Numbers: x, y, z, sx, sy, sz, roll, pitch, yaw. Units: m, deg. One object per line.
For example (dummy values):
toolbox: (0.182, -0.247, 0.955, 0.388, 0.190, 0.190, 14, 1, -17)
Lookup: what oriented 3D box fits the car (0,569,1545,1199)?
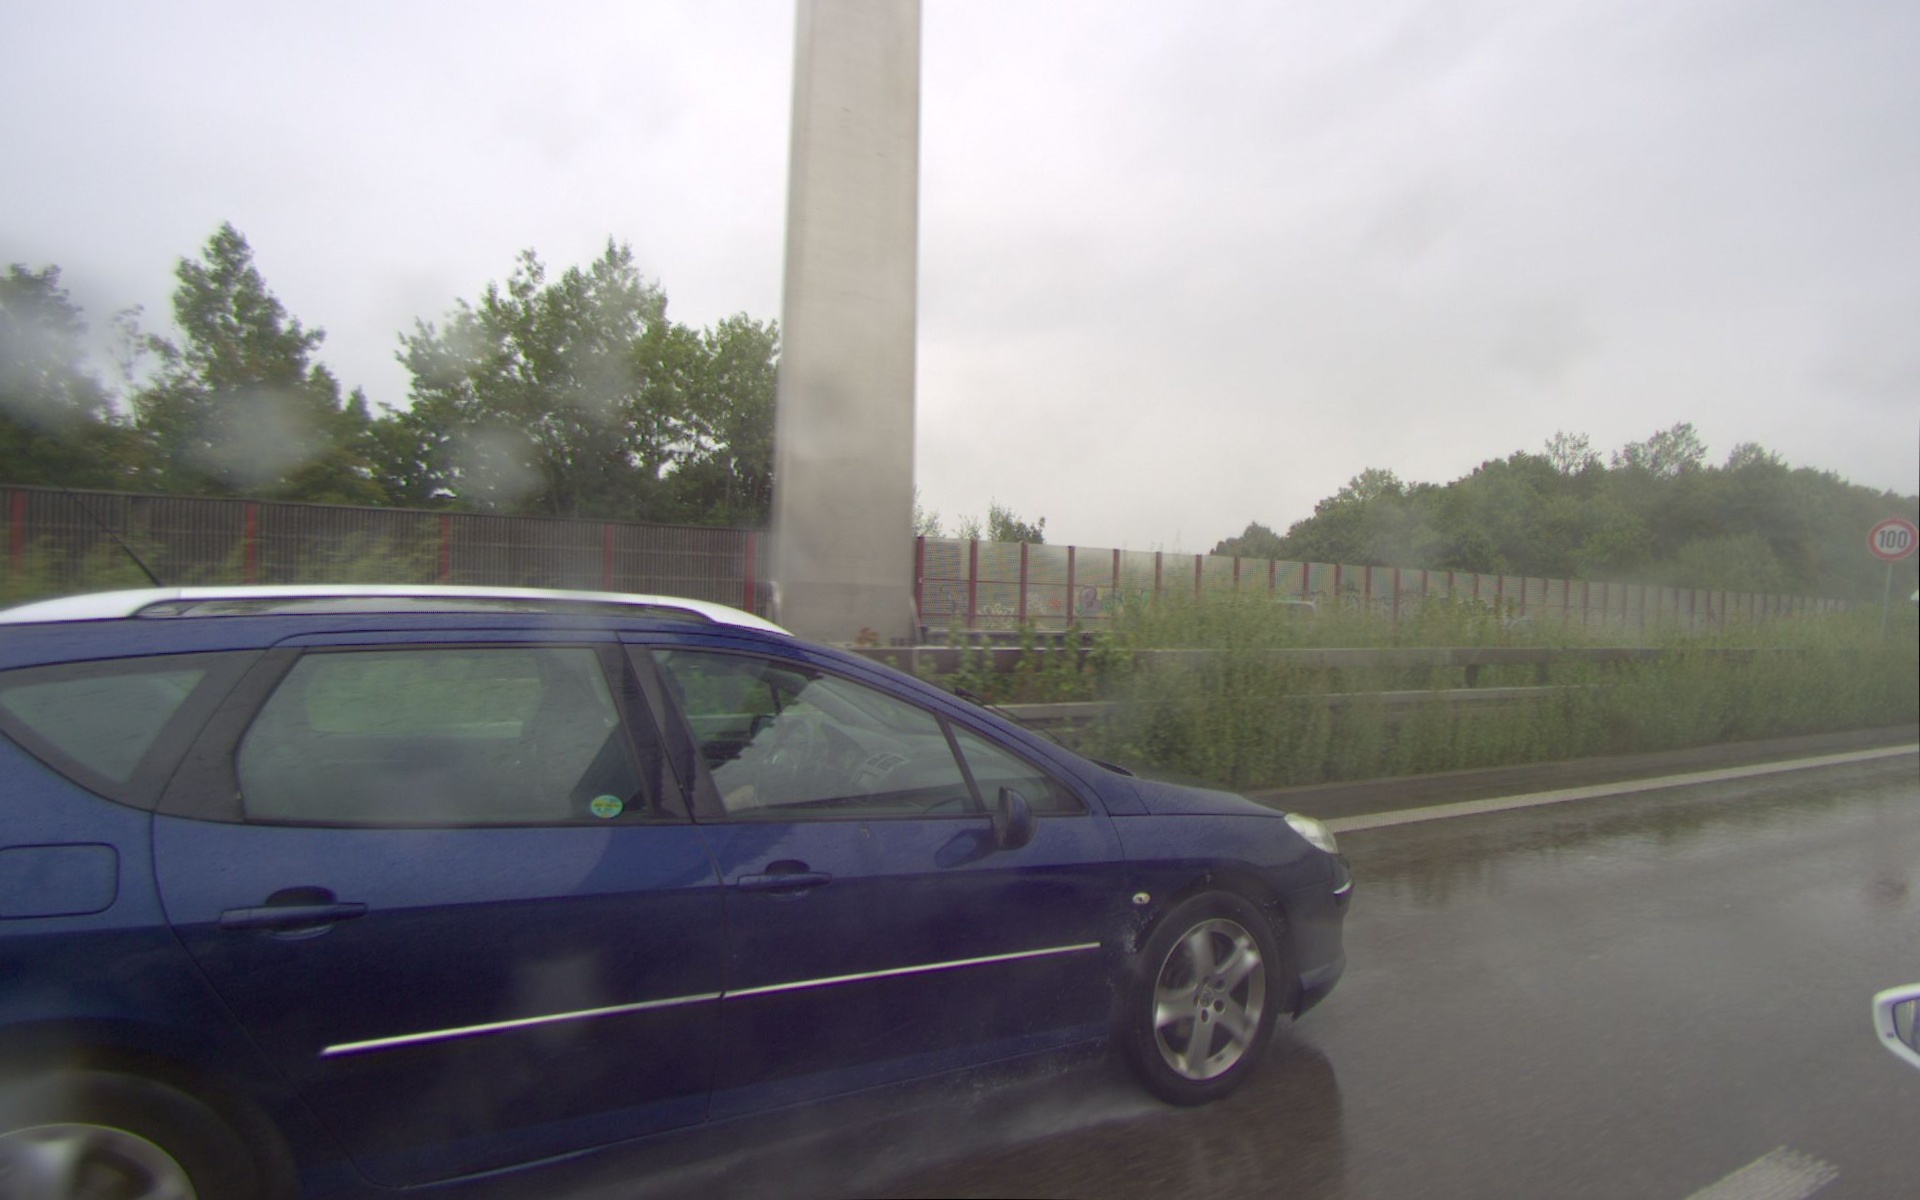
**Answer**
car: (-0.563, 0.727, 3.238, 5.099, 1.505, 2.044, 1, 0, -31)
